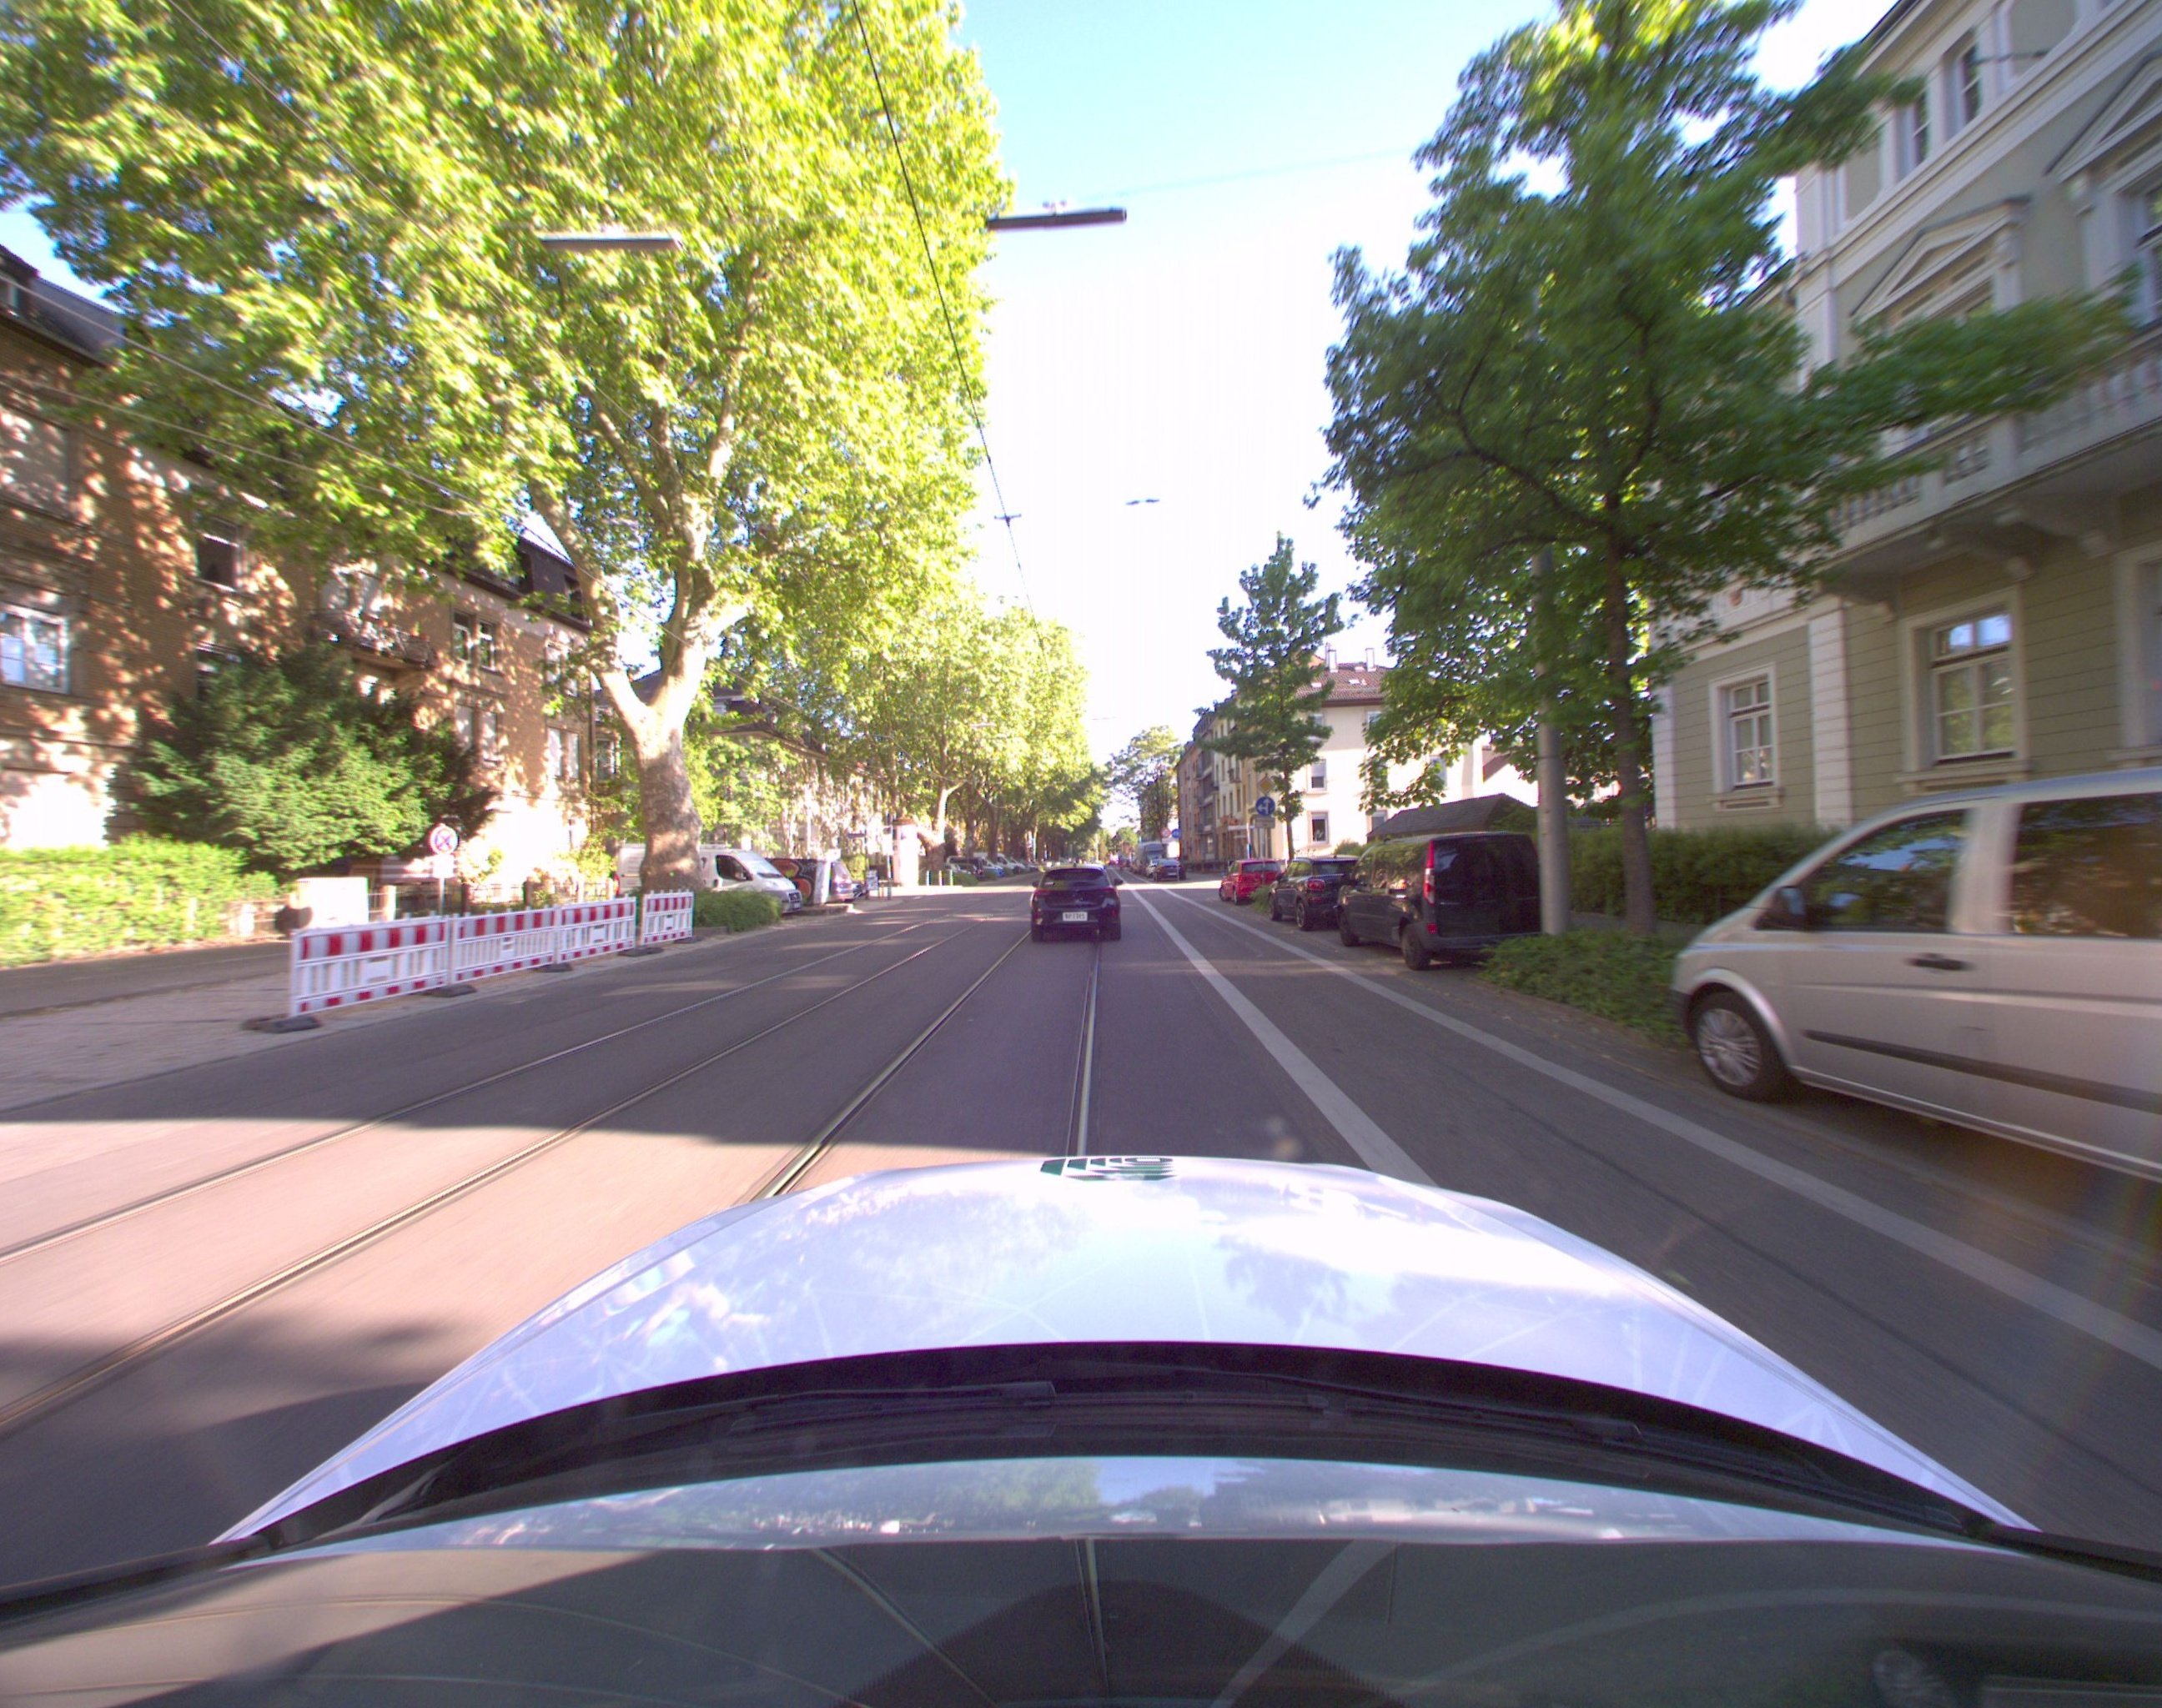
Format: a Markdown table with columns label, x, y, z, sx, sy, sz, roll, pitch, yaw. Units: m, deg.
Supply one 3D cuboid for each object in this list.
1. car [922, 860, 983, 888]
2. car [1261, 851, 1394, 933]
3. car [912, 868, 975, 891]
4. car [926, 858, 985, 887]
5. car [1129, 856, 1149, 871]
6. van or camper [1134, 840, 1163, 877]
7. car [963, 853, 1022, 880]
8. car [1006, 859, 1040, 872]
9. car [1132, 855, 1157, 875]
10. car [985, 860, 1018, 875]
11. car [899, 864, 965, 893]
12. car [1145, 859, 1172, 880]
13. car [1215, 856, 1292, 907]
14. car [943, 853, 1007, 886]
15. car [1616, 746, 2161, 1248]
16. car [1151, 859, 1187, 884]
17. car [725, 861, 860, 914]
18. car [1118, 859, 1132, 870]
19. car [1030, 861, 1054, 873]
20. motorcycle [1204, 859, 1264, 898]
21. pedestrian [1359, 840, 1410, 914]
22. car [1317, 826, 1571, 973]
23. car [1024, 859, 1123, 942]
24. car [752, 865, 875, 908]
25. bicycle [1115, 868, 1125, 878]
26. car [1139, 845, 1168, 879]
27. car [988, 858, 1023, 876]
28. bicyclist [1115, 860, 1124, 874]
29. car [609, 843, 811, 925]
| label | x | y | z | sx | sy | sz | roll | pitch | yaw |
| --- | --- | --- | --- | --- | --- | --- | --- | --- | --- |
| car | -9.624 | 1.510 | 61.107 | 4.295 | 1.674 | 1.778 | -5 | -1 | -6 |
| car | 5.360 | 0.777 | 18.258 | 1.706 | 1.514 | 4.036 | -4 | -1 | 0 |
| car | -9.932 | 1.836 | 59.074 | 4.295 | 1.290 | 1.707 | -5 | -1 | -6 |
| car | -9.728 | 1.428 | 63.440 | 4.295 | 1.840 | 1.778 | -5 | -1 | -6 |
| car | 7.501 | 1.209 | 105.405 | 2.246 | 1.841 | 5.532 | -3 | -1 | 1 |
| van or camper | 6.367 | 0.440 | 77.045 | 2.246 | 3.216 | 5.532 | -3 | -1 | 1 |
| car | -8.961 | 1.259 | 82.851 | 5.612 | 2.593 | 2.199 | -1 | -1 | 5 |
| car | -7.797 | 1.593 | 109.190 | 4.351 | 1.665 | 1.995 | -1 | -1 | -8 |
| car | 6.498 | 1.135 | 84.235 | 2.246 | 1.841 | 5.532 | -3 | -1 | 1 |
| car | -10.118 | 1.680 | 103.664 | 4.173 | 1.794 | 1.995 | -1 | -1 | -8 |
| car | -10.283 | 1.673 | 56.436 | 4.295 | 1.593 | 1.778 | -5 | -1 | -6 |
| car | 5.971 | 1.230 | 63.266 | 1.797 | 1.434 | 4.001 | -3 | -2 | 1 |
| car | 5.611 | 0.878 | 26.974 | 1.696 | 1.423 | 3.979 | -5 | -1 | 1 |
| car | -9.087 | 1.360 | 70.130 | 5.018 | 2.374 | 2.082 | -5 | -1 | 1 |
| car | 4.889 | 0.474 | 3.521 | 1.877 | 1.851 | 4.969 | -4 | -1 | 1 |
| car | 5.705 | 1.103 | 53.172 | 1.877 | 1.434 | 4.531 | -4 | -1 | 1 |
| car | -10.615 | 1.212 | 30.215 | 4.287 | 1.801 | 1.925 | -1 | -1 | -1 |
| car | 7.986 | 1.835 | 147.284 | 2.246 | 1.841 | 5.532 | -3 | -1 | 1 |
| car | -6.934 | 2.333 | 145.522 | 3.965 | 2.014 | 2.004 | -1 | -1 | 7 |
| motorcycle | 5.861 | 0.954 | 31.225 | 2.073 | 1.358 | 0.928 | -4 | -2 | 18 |
| pedestrian | 7.396 | 0.550 | 19.876 | 0.827 | 1.711 | 0.835 | -4 | 1 | 0 |
| car | 5.238 | 0.583 | 12.574 | 1.879 | 1.766 | 4.679 | -2 | 0 | 2 |
| car | -0.065 | 0.858 | 16.600 | 1.757 | 1.460 | 3.952 | -1 | -1 | 2 |
| car | -10.710 | 1.284 | 32.851 | 4.287 | 1.607 | 1.925 | -1 | -1 | -1 |
| bicycle | 4.092 | 2.032 | 85.959 | 0.964 | 0.999 | 2.583 | -1 | -1 | 0 |
| car | 6.210 | 0.644 | 70.477 | 2.077 | 2.772 | 4.699 | -3 | 0 | 1 |
| car | -8.901 | 1.526 | 96.067 | 3.984 | 2.014 | 1.995 | -1 | -1 | -8 |
| bicyclist | 4.065 | 1.358 | 85.963 | 0.955 | 1.499 | 1.094 | -1 | -1 | 0 |
| car | -10.935 | 0.870 | 24.298 | 5.020 | 2.259 | 2.084 | -1 | -1 | -2 |
